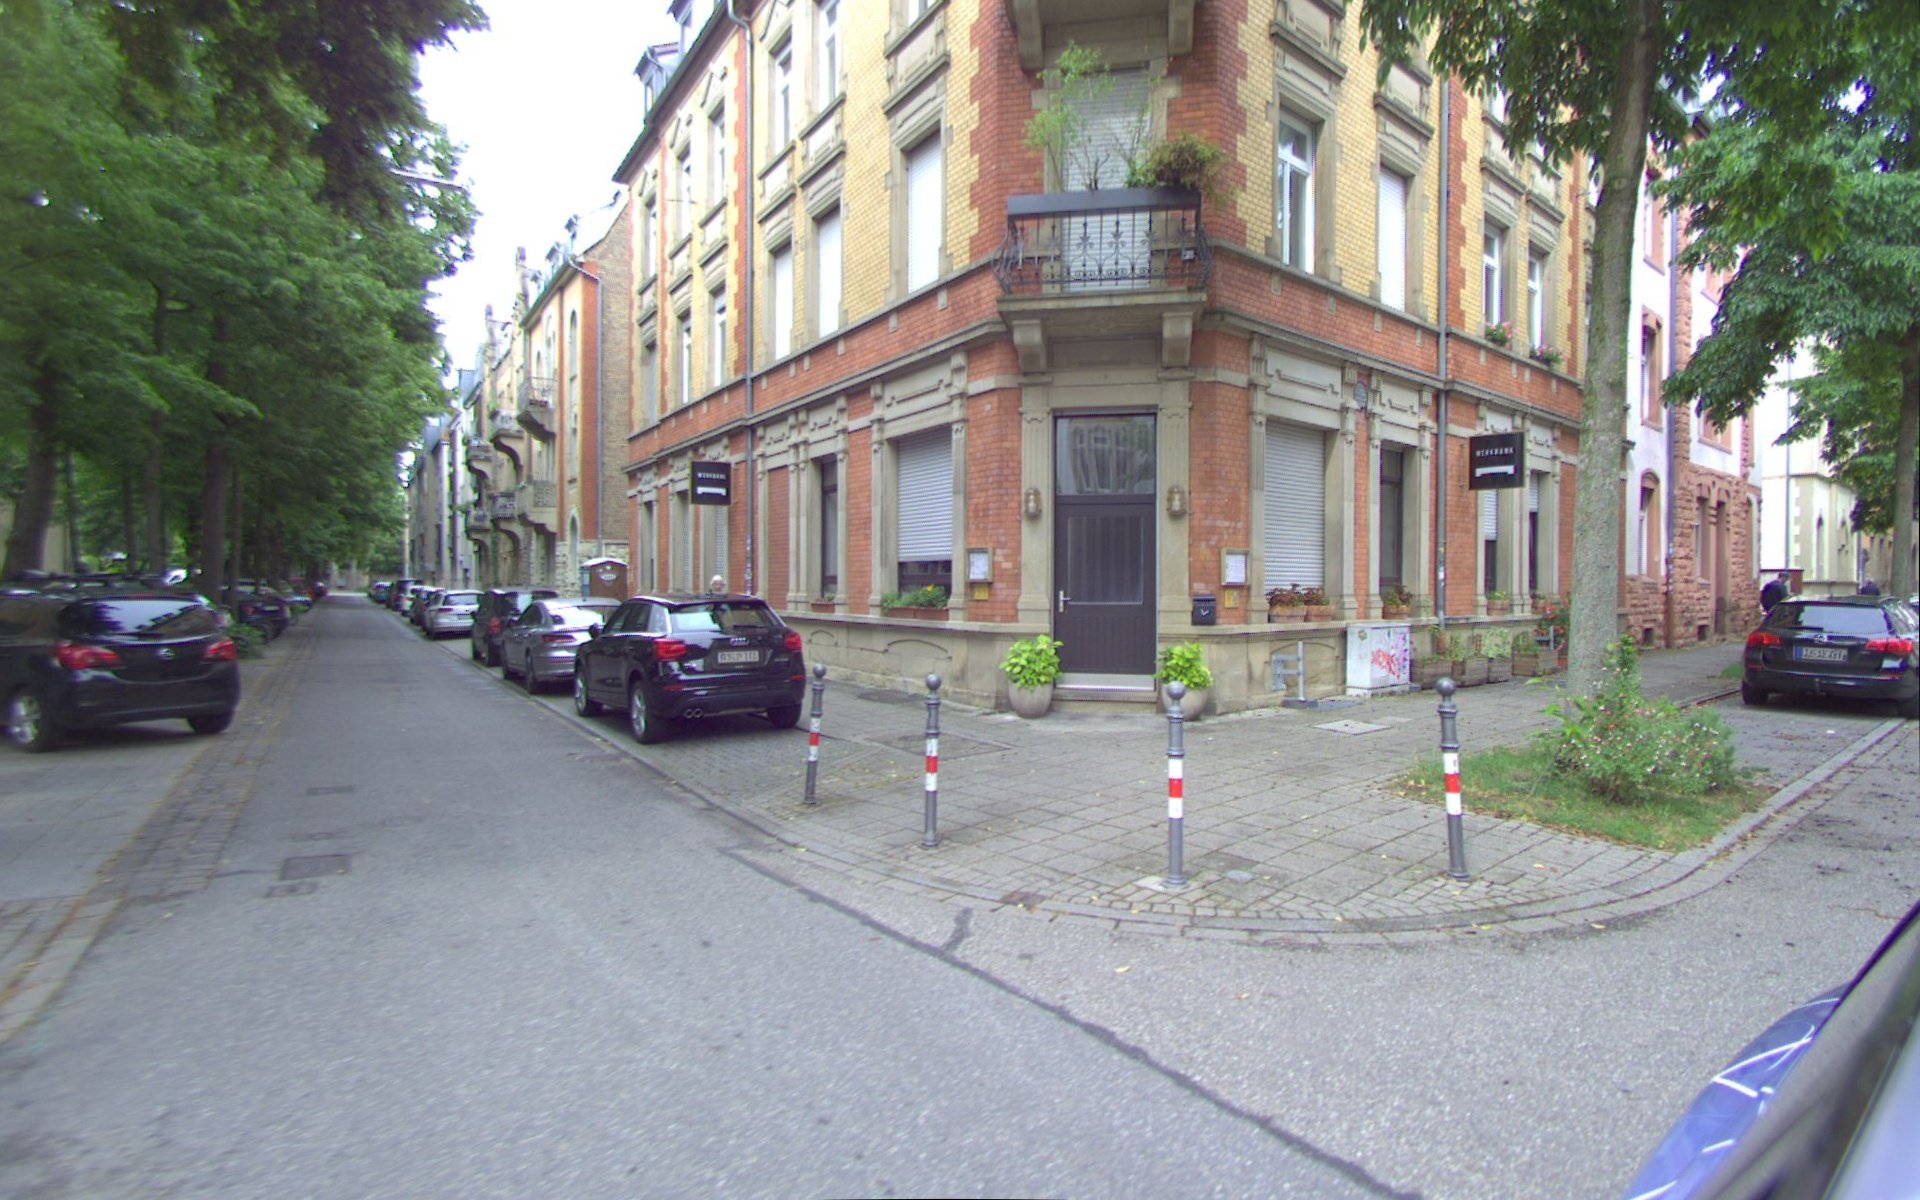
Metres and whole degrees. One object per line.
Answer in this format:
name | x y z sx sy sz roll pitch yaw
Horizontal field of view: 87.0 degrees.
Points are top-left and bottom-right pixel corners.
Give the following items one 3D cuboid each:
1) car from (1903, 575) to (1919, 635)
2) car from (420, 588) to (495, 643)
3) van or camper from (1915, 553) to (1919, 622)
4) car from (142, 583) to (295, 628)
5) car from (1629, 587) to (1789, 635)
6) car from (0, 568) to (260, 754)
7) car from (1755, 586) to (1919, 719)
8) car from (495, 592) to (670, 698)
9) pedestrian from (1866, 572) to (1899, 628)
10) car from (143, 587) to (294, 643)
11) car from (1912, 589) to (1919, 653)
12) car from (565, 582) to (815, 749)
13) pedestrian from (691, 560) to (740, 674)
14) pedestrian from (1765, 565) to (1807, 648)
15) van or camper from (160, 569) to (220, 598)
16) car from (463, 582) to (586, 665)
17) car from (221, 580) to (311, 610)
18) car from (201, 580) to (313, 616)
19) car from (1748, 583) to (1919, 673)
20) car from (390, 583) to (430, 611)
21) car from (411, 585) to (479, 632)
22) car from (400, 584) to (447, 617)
car | 30.952 0.165 30.060 1.686 1.834 4.005 0 1 -30
car | -15.663 0.416 31.438 1.808 1.514 4.279 -3 2 -30
van or camper | 38.731 -0.435 37.057 5.004 2.623 2.061 0 1 19
car | -24.446 0.152 33.440 3.928 1.407 1.737 0 1 4
car | 24.575 0.318 33.308 1.582 1.472 3.993 -1 1 -41
car | -9.237 0.507 10.236 3.905 1.601 1.673 1 0 22
car | 12.512 0.594 13.856 4.402 1.504 1.767 -1 3 -42
car | -6.275 0.609 16.508 1.960 1.371 4.337 -3 2 -30
pedestrian | 30.590 -0.004 33.557 0.802 1.835 0.702 0 0 -40
car | -21.009 0.385 28.683 3.953 1.482 1.652 1 1 22
car | 24.881 0.523 23.654 3.435 1.583 1.770 0 0 27
car | -3.279 0.600 11.772 1.629 1.559 3.836 -2 2 -34
pedestrian | -3.802 0.246 15.705 0.551 1.728 0.750 0 1 -29
pedestrian | 17.922 0.126 21.946 0.652 1.754 0.598 0 1 -43
van or camper | -83.359 -1.804 109.589 4.960 3.073 1.995 -1 1 -44
car | -9.586 0.426 22.073 1.960 1.552 4.337 -3 2 -30
car | -38.599 -0.312 56.358 3.928 1.631 1.737 0 1 4
car | -31.542 -0.094 45.450 3.928 1.550 1.737 0 1 4
car | 17.250 0.517 18.232 4.383 1.445 1.751 2 2 16
car | -31.662 -0.212 58.204 1.960 1.514 4.337 -1 1 -30
car | -18.618 0.248 36.497 1.960 1.514 4.337 -3 2 -30
car | -26.784 -0.016 50.459 1.960 1.514 4.337 -1 1 -30
